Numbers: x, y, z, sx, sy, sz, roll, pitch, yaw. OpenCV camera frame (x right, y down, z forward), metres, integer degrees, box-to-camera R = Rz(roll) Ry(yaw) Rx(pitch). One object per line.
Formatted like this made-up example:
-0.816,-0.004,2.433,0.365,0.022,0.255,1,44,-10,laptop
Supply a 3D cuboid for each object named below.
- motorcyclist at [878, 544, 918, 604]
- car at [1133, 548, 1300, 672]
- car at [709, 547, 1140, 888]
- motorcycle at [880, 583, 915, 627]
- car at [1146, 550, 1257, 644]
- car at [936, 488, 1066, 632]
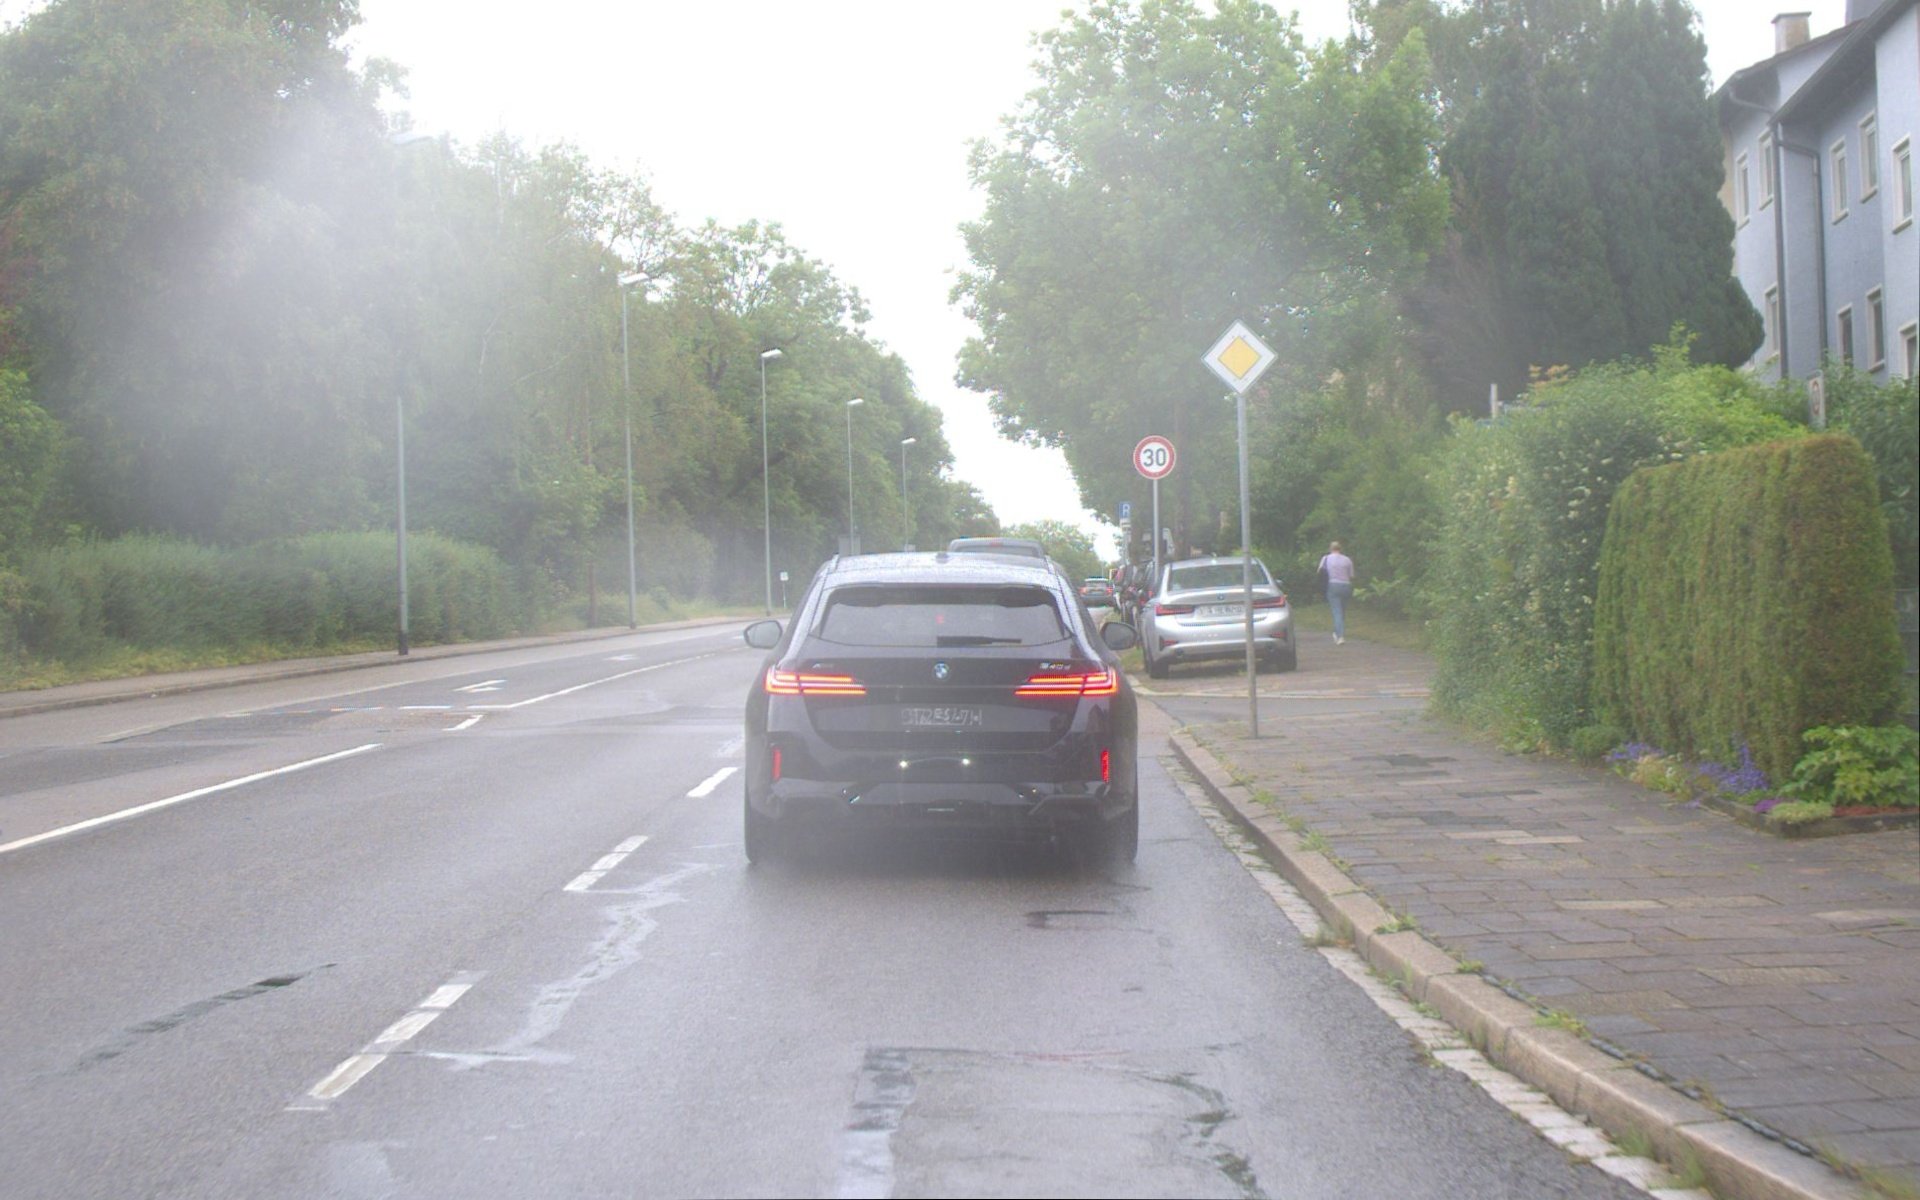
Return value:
-1.646,-0.695,91.204,1.039,1.562,0.855,1,0,0,motorcyclist
3.194,0.083,43.581,1.935,1.437,4.408,-2,1,2,car
-0.127,0.494,17.319,1.897,1.484,4.000,1,1,1,car
-1.659,0.124,91.329,0.876,1.120,2.741,1,0,0,motorcycle
3.947,-0.077,56.532,1.589,1.456,3.562,-1,1,1,car
0.531,-0.560,46.621,1.629,1.827,4.000,-2,1,0,car
